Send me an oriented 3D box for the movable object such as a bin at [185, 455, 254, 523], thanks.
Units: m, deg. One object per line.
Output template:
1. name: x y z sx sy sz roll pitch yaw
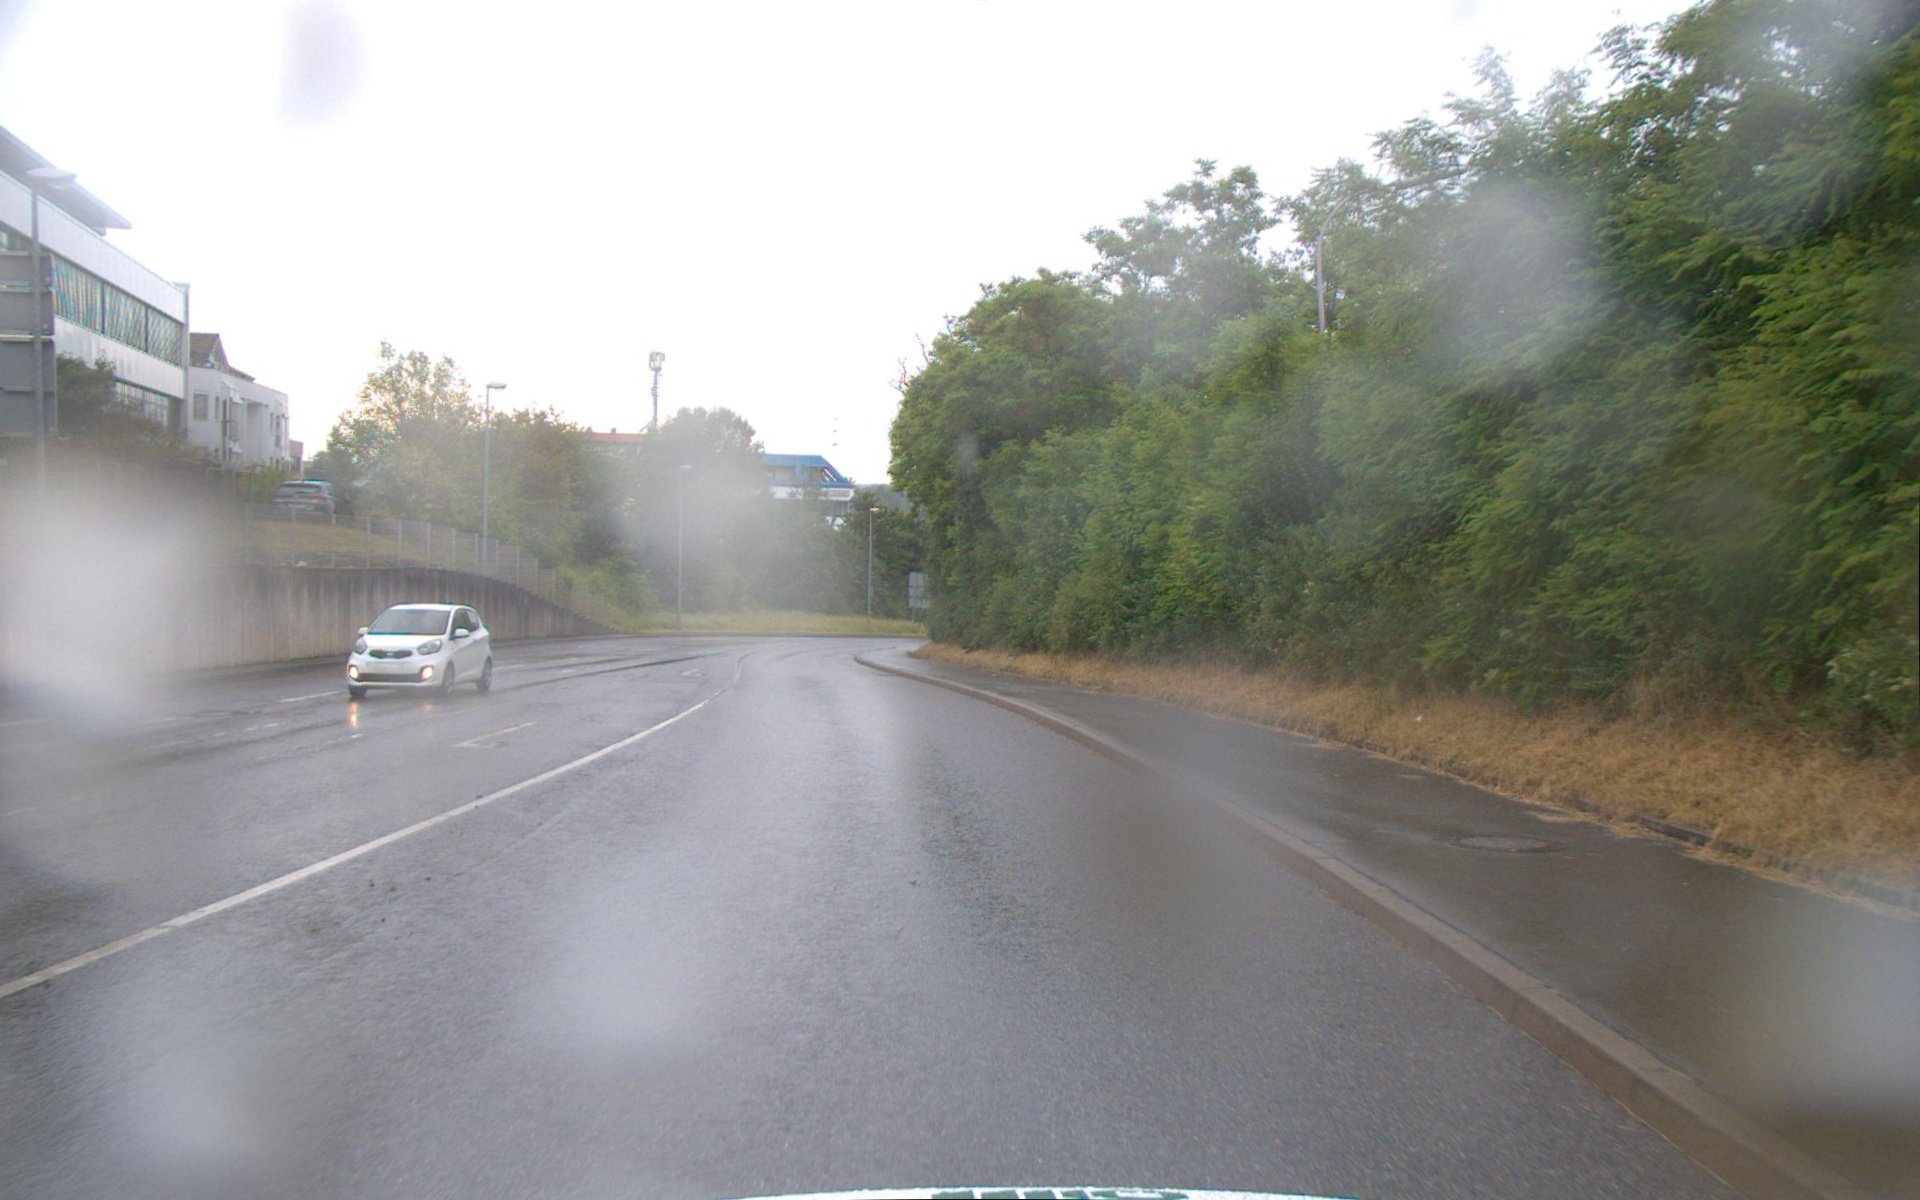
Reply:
1. movable object such as a bin: -17.668 -2.640 39.499 1.063 1.462 1.444 2 -1 -8

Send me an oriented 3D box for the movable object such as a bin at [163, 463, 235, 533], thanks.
1. movable object such as a bin: -17.484 -2.323 38.027 1.063 1.462 1.444 2 -1 -8

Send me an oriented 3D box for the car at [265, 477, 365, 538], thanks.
1. car: -19.031 -2.697 48.964 1.793 1.467 3.993 2 -1 -8

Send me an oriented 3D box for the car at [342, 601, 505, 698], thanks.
1. car: -8.952 0.782 27.893 1.619 1.454 3.791 1 1 -2
